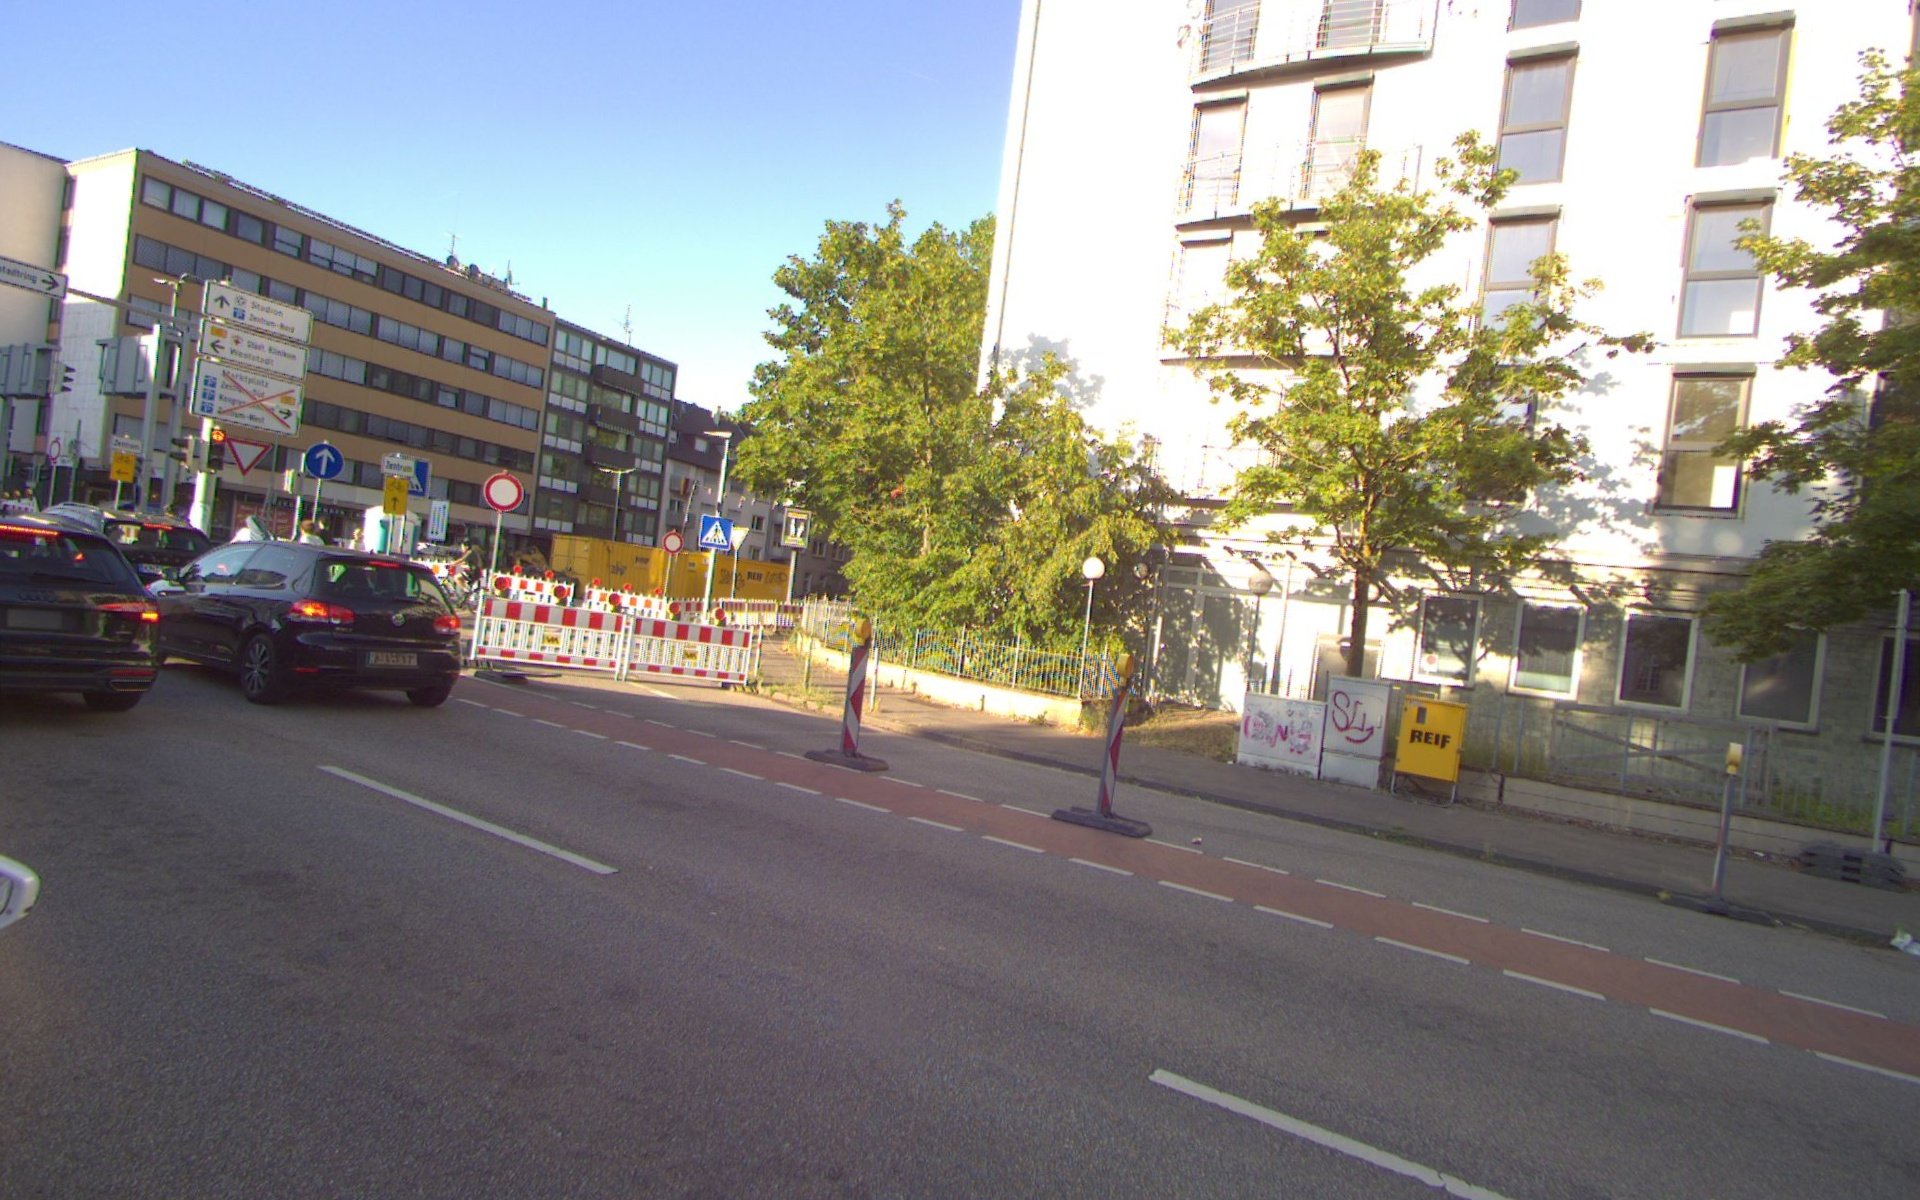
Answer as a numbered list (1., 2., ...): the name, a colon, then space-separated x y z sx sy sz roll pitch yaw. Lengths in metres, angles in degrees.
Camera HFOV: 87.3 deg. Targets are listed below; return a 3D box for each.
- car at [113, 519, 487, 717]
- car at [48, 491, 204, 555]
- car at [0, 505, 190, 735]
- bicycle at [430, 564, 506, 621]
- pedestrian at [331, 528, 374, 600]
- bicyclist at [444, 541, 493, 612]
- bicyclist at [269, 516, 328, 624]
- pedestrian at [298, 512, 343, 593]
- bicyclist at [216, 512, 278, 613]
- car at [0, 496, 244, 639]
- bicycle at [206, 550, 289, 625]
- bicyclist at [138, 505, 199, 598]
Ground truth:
1. car: -6.725 0.158 10.181 3.683 1.466 1.637 7 -2 32
2. car: -32.973 -3.012 39.930 1.964 1.839 4.228 7 -1 23
3. car: -7.732 -0.061 7.499 4.144 1.437 1.685 7 -2 32
4. bicycle: -12.048 -0.183 24.669 1.478 1.174 0.372 9 -1 -18
5. pedestrian: -14.999 -0.889 24.846 0.446 1.691 0.604 7 0 12
6. bicyclist: -12.032 -0.575 24.662 0.803 1.607 0.617 8 0 -18
7. bicyclist: -9.939 -0.442 15.121 0.474 1.544 0.441 7 0 31
8. pedestrian: -15.330 -1.131 24.112 0.478 1.857 0.571 7 0 17
9. bicyclist: -11.631 -0.608 16.411 0.713 1.544 0.441 7 0 32
10. car: -11.192 -0.447 13.357 3.250 1.467 1.507 7 0 32
11. bicycle: -11.613 -0.214 16.365 1.825 1.020 0.337 7 0 32
12. bicyclist: -14.085 -0.867 17.909 0.713 1.544 0.514 7 0 32
